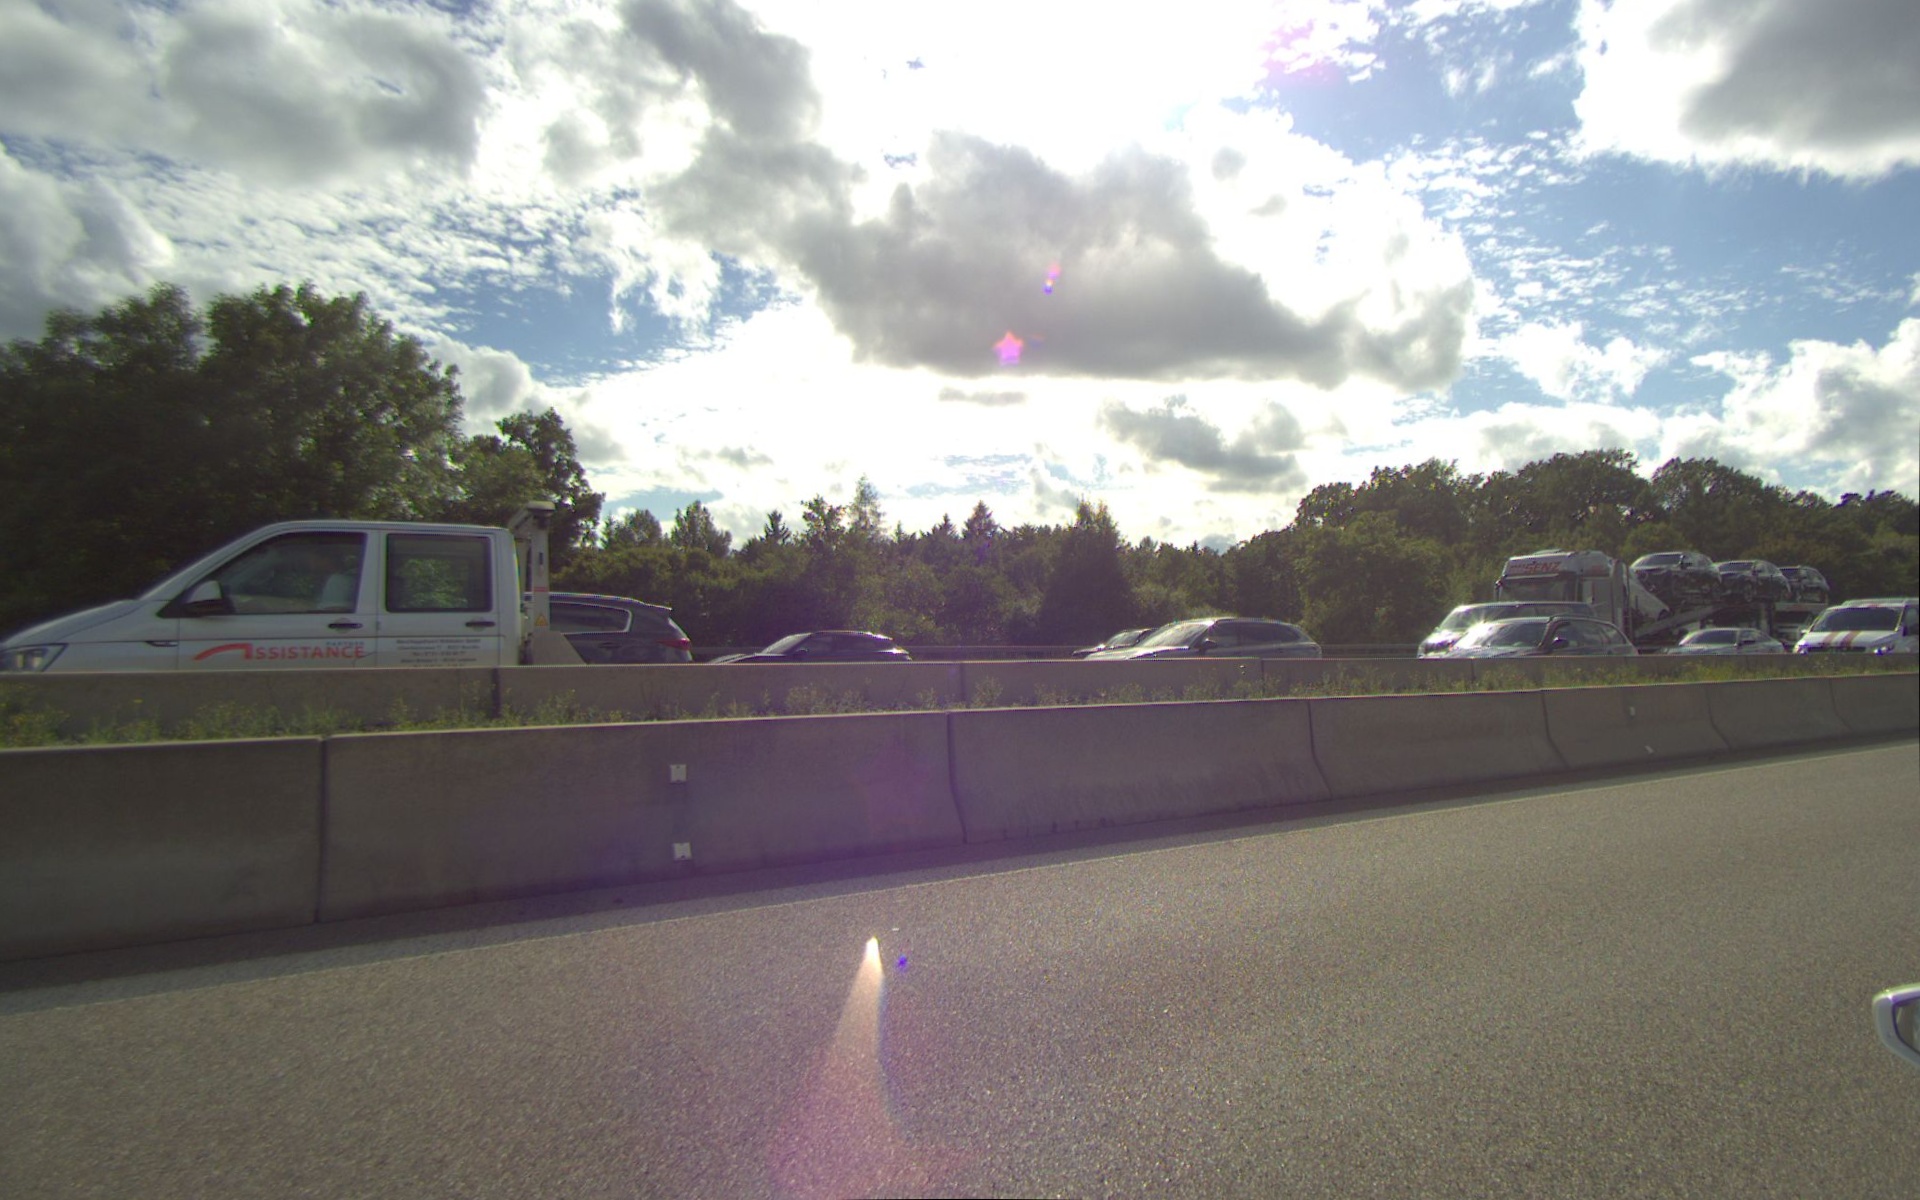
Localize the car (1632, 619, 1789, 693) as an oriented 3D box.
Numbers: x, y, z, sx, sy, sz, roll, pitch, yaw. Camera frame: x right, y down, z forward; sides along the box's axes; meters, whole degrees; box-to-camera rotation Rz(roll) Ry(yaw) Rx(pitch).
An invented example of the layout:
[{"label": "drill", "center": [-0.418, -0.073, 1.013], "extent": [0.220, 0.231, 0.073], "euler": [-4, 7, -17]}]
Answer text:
[{"label": "car", "center": [21.081, 1.519, 28.170], "extent": [4.642, 1.900, 1.902], "euler": [2, -1, -31]}]

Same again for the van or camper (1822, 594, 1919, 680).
[{"label": "van or camper", "center": [32.676, 1.301, 34.686], "extent": [6.554, 2.747, 2.380], "euler": [2, -1, -30]}]

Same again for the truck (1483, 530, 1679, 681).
[{"label": "truck", "center": [19.348, 0.194, 31.271], "extent": [5.647, 4.291, 2.839], "euler": [1, 0, -31]}]

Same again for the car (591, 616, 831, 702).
[{"label": "car", "center": [-5.009, 1.137, 20.341], "extent": [4.357, 1.519, 1.881], "euler": [1, 0, -30]}]

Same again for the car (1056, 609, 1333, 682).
[{"label": "car", "center": [4.101, 0.795, 17.283], "extent": [4.827, 1.091, 1.632], "euler": [3, -1, -30]}]

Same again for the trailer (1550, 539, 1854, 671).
[{"label": "trailer", "center": [26.950, 0.347, 35.909], "extent": [15.821, 4.028, 2.816], "euler": [2, 0, -31]}]

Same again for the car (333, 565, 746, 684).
[{"label": "car", "center": [-4.686, 0.276, 11.464], "extent": [4.115, 1.154, 1.556], "euler": [2, 0, -31]}]

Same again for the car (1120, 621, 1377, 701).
[{"label": "car", "center": [5.210, 1.051, 17.966], "extent": [4.513, 1.247, 1.823], "euler": [2, -1, -30]}]

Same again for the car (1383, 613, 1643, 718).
[{"label": "car", "center": [8.531, 0.952, 15.443], "extent": [3.952, 1.391, 1.687], "euler": [1, 0, -30]}]

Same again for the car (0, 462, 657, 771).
[{"label": "car", "center": [-4.687, 0.125, 7.730], "extent": [4.130, 1.825, 2.076], "euler": [1, 0, -31]}]

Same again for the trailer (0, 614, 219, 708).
[{"label": "trailer", "center": [-16.600, 1.114, 18.687], "extent": [4.300, 1.600, 1.816], "euler": [3, -1, -31]}]

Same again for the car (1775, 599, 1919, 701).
[{"label": "car", "center": [21.205, 1.149, 23.191], "extent": [5.216, 2.127, 1.984], "euler": [2, -1, -30]}]
